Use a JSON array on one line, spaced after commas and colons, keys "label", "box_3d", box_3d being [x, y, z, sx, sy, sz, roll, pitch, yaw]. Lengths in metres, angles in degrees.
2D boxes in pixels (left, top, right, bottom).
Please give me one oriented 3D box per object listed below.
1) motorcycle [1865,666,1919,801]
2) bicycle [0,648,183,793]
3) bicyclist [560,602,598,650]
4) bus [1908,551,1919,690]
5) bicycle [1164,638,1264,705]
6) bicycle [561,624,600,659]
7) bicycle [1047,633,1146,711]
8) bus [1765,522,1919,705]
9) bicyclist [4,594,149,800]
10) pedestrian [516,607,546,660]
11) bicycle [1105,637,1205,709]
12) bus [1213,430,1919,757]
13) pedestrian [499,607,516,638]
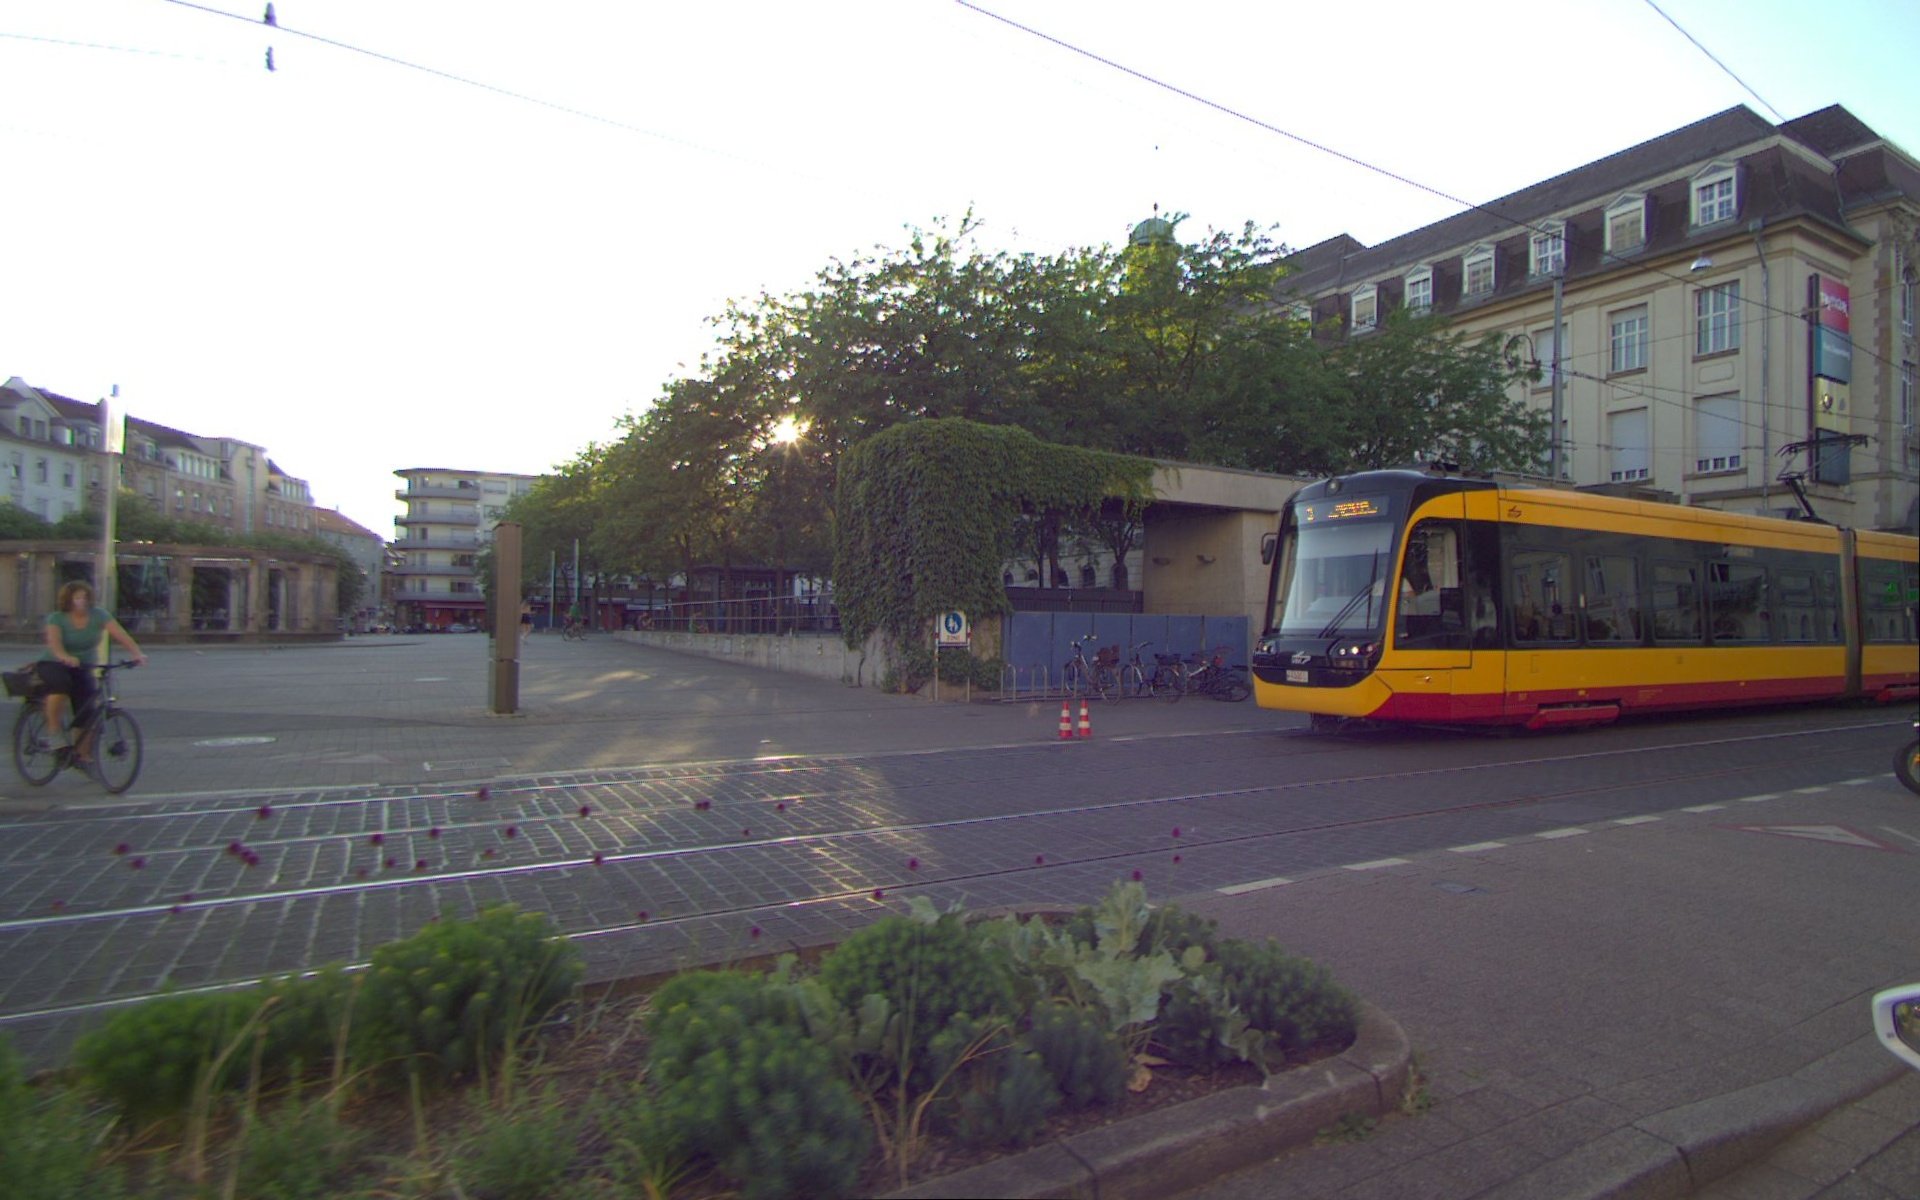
[{"label": "motorcycle", "box_3d": [8.958, 1.160, 8.390, 2.016, 1.138, 0.567, 0, -3, 34]}, {"label": "bicycle", "box_3d": [-7.671, 1.006, 8.731, 1.898, 1.126, 0.461, 1, -2, 20]}, {"label": "bicyclist", "box_3d": [-16.798, 1.141, 44.310, 1.120, 2.045, 0.962, 2, -2, 8]}, {"label": "bus", "box_3d": [30.835, 0.732, 28.319, 11.684, 3.660, 2.809, 2, -2, -30]}, {"label": "bicycle", "box_3d": [5.087, 1.414, 20.260, 0.578, 1.248, 2.231, 2, -2, -29]}, {"label": "bicycle", "box_3d": [-16.787, 1.834, 44.482, 0.568, 1.495, 2.251, 1, -2, 9]}, {"label": "bicycle", "box_3d": [2.478, 1.288, 18.456, 0.573, 1.317, 2.187, 3, -3, -29]}, {"label": "bus", "box_3d": [22.230, 0.392, 23.308, 8.191, 3.672, 2.809, 2, -2, -30]}, {"label": "bicyclist", "box_3d": [-7.690, 0.819, 8.758, 0.691, 1.690, 0.628, 1, -2, 21]}, {"label": "pedestrian", "box_3d": [-17.307, 1.338, 40.497, 0.922, 2.088, 0.931, 1, 0, -35]}, {"label": "bicycle", "box_3d": [3.715, 1.371, 19.334, 0.573, 1.271, 2.231, 3, -3, -29]}, {"label": "bus", "box_3d": [11.453, 0.125, 16.870, 16.871, 3.699, 2.809, 1, -2, -30]}, {"label": "pedestrian", "box_3d": [-26.591, 1.301, 59.057, 0.758, 1.801, 0.570, 1, -1, -39]}]
